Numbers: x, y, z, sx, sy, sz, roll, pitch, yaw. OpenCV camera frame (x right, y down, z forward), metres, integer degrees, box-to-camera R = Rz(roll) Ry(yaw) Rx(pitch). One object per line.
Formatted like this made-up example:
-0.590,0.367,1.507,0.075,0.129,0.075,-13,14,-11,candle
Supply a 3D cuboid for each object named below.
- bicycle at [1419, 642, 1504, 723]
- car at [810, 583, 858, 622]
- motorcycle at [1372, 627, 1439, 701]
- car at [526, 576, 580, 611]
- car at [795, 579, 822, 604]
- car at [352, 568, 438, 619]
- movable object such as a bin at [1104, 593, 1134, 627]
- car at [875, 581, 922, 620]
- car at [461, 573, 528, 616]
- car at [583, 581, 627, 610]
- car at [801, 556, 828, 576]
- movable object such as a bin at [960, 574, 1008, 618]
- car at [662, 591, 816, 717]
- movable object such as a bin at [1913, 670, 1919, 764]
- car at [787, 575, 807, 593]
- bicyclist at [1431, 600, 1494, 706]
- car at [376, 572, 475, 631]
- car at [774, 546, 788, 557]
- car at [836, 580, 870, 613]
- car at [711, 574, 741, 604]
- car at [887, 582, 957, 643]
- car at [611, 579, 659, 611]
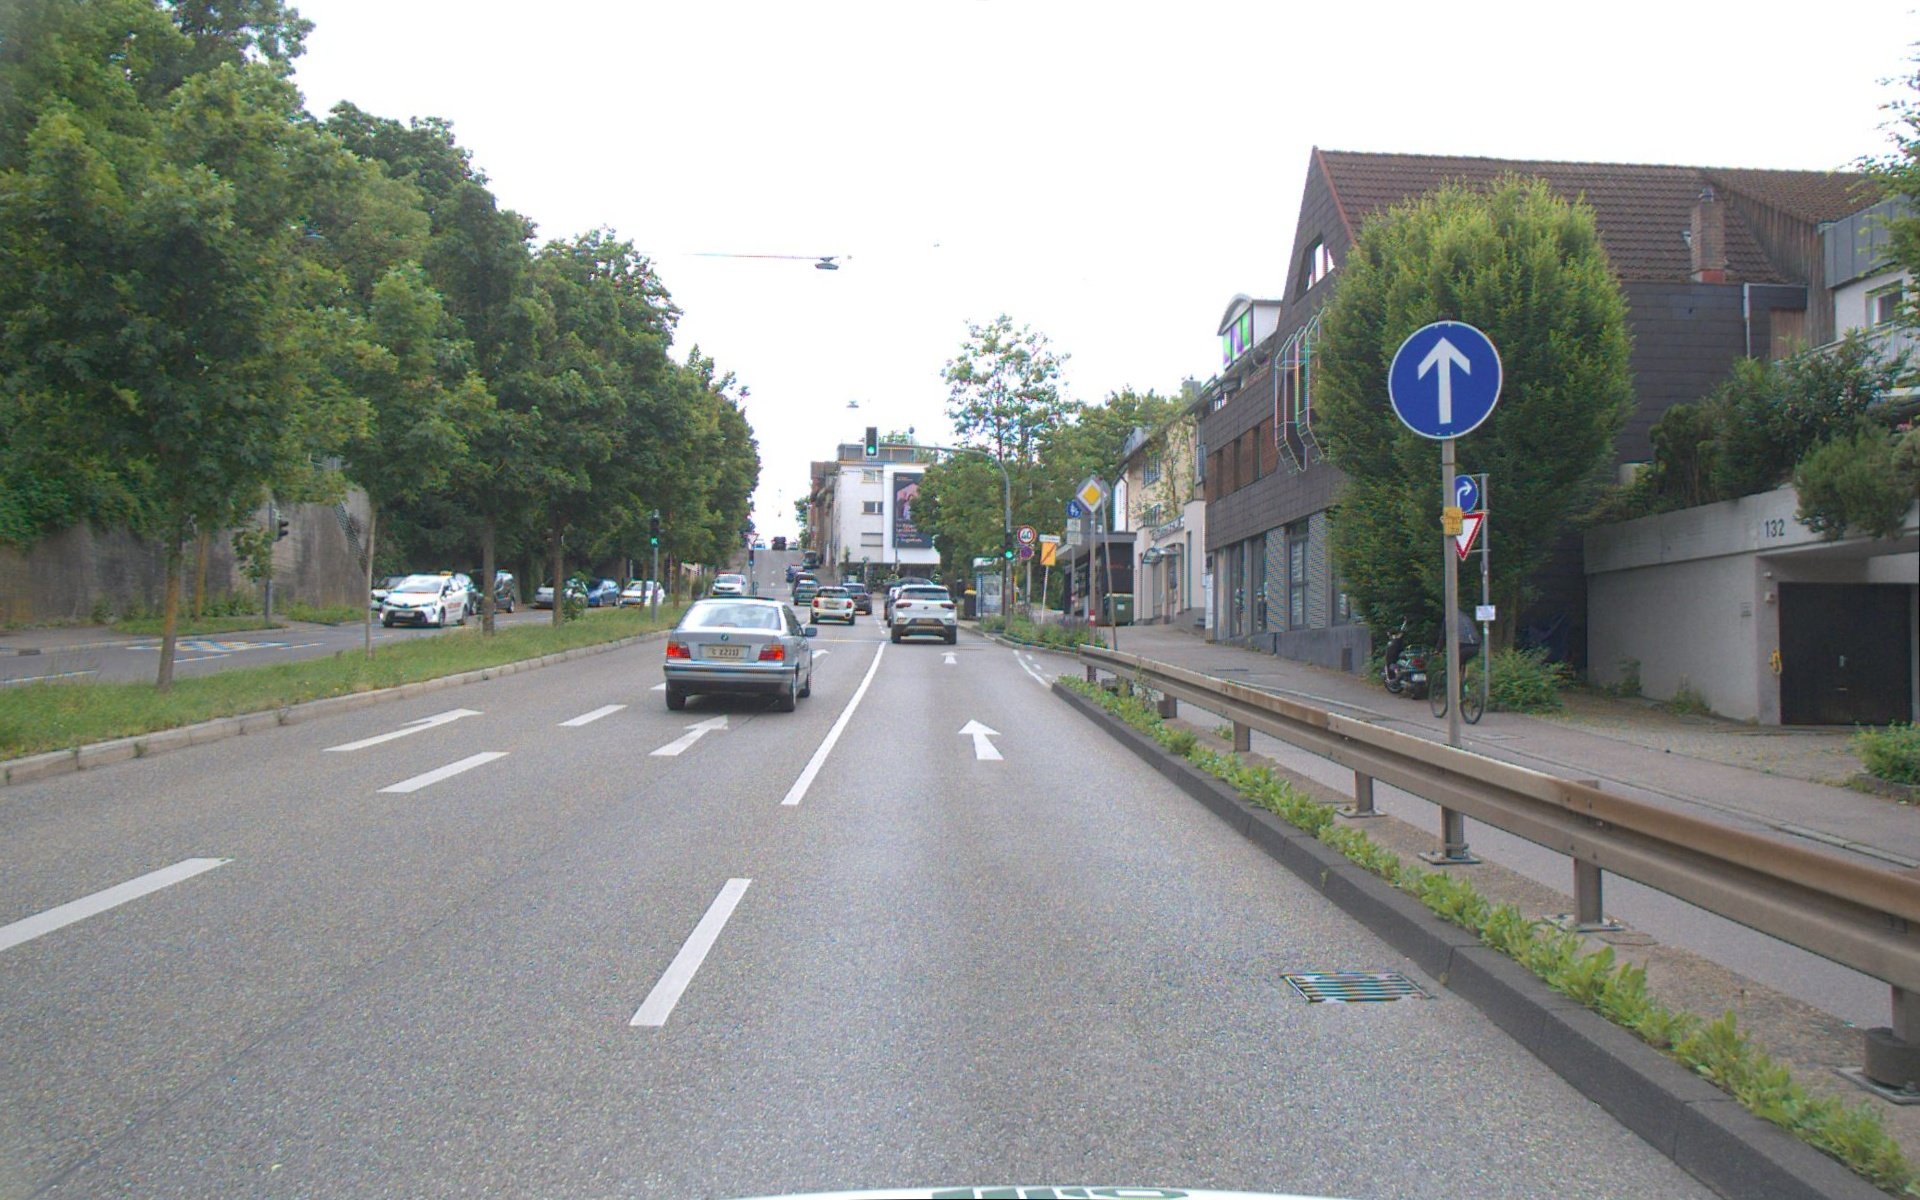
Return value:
7.644,1.239,25.296,0.555,1.081,2.004,-2,1,-4,bicycle
-4.838,0.118,63.766,1.688,1.400,3.455,-2,0,-2,car
7.870,1.109,29.293,0.596,1.182,2.040,-1,1,-1,motorcycle
-20.200,-0.336,82.301,1.823,1.621,4.277,2,1,-4,car
-10.209,-0.552,111.416,1.689,1.610,3.453,-2,0,-4,car
-20.354,-0.271,59.794,1.823,1.699,4.277,2,1,-4,car
6.916,0.427,71.982,1.171,1.433,0.711,2,1,-2,movable object such as a bin
-2.372,0.033,63.211,1.688,1.400,3.454,-2,0,-3,car
-19.749,-0.275,70.290,1.823,1.699,4.277,2,1,-4,car
-20.389,-0.271,95.162,1.823,1.568,4.277,2,1,-4,car
-15.596,-3.638,177.678,2.459,2.048,5.180,2,1,-1,car
1.066,-0.188,74.926,1.857,1.902,1.525,2,1,-10,movable object such as a bin
-2.823,0.634,21.957,1.602,1.407,4.618,1,1,-3,car
11.273,1.358,18.837,0.484,1.076,0.538,2,1,-1,movable object such as a bin
-14.911,-1.454,151.522,1.689,1.610,3.453,-2,0,-4,car
7.633,0.787,25.154,0.555,1.551,0.958,-2,1,-4,bicyclist
-16.681,0.005,51.789,1.823,1.699,4.277,2,1,-3,car
-24.781,-6.704,228.772,1.787,1.534,3.996,2,1,-5,car
-5.710,-0.166,87.952,1.689,1.668,3.453,-2,0,-4,car
-15.359,-0.722,108.733,1.635,1.898,3.243,-1,1,-3,car
-1.082,0.346,45.412,1.761,1.545,3.454,-2,0,-3,car
-16.731,-0.279,85.387,1.823,1.568,4.277,2,1,-4,car
